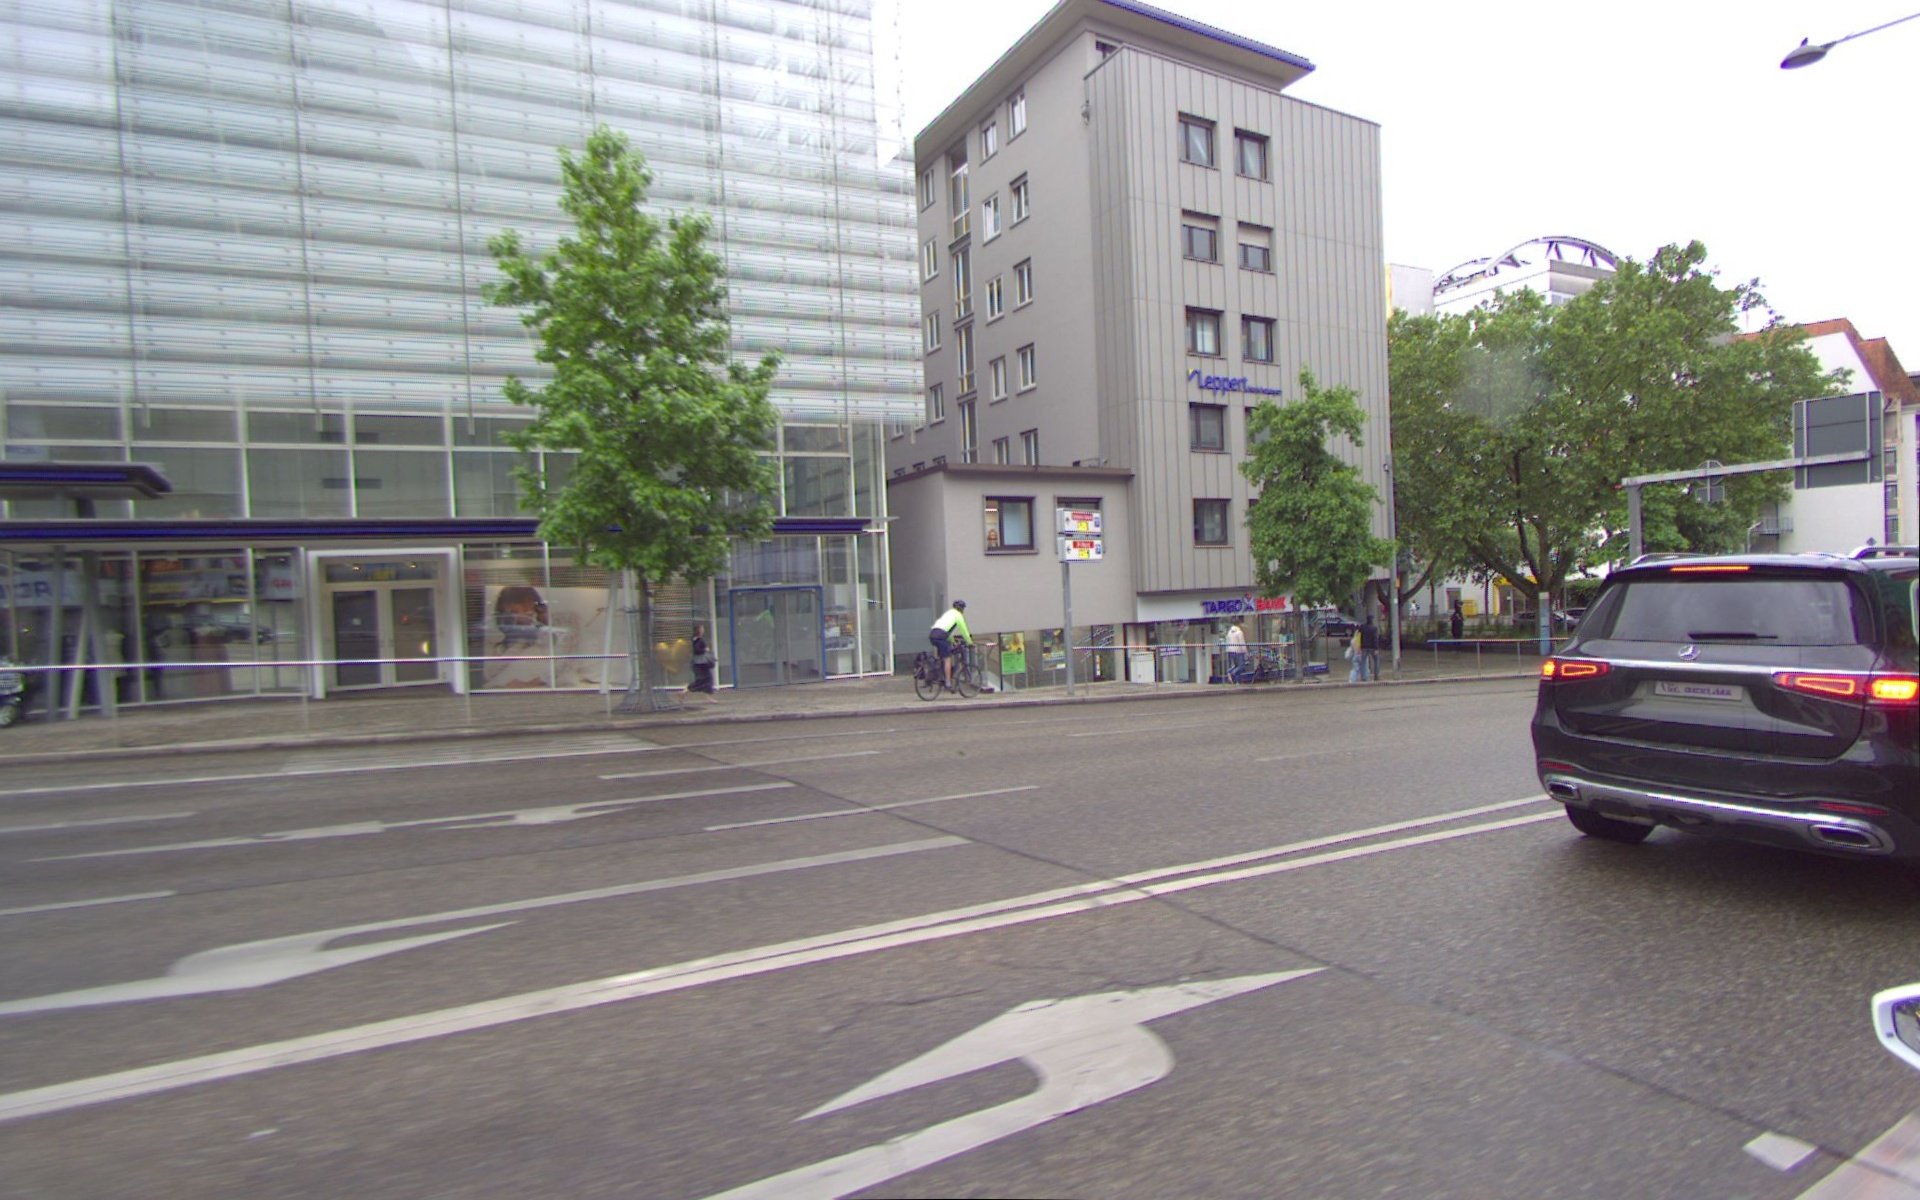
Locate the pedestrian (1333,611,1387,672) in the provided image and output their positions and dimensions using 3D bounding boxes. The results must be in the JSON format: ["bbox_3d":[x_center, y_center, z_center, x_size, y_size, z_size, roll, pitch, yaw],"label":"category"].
[{"bbox_3d":[11.814,1.209,29.682,1.075,1.745,0.970,0,-1,-26],"label":"pedestrian"}]

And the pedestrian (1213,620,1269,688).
[{"bbox_3d":[7.497,1.426,26.847,1.028,1.745,0.986,0,-2,-35],"label":"pedestrian"}]

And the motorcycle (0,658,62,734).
[{"bbox_3d":[-17.564,1.772,18.762,0.759,1.312,1.542,0,-1,-25],"label":"motorcycle"}]

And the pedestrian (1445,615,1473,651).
[{"bbox_3d":[24.454,1.603,49.229,0.937,1.745,0.756,-1,-1,-20],"label":"pedestrian"}]

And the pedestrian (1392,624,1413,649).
[{"bbox_3d":[23.325,1.947,52.939,0.935,1.289,0.758,-2,-2,31],"label":"pedestrian"}]

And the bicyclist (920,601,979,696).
[{"bbox_3d":[-0.216,0.962,20.222,0.983,1.854,0.663,1,-3,-42],"label":"bicyclist"}]

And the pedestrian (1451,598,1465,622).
[{"bbox_3d":[37.641,0.788,75.886,0.826,1.802,0.610,0,-2,-41],"label":"pedestrian"}]

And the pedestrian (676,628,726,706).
[{"bbox_3d":[-5.058,1.287,19.603,0.833,1.475,0.650,0,-1,-26],"label":"pedestrian"}]

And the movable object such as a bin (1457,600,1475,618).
[{"bbox_3d":[40.105,0.718,79.589,0.593,1.465,1.107,0,-2,-28],"label":"movable object such as a bin"}]

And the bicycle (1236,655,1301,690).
[{"bbox_3d":[10.748,2.502,34.943,2.642,1.101,0.608,1,-1,-33],"label":"bicycle"}]

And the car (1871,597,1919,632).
[{"bbox_3d":[46.299,0.700,47.591,4.632,1.665,1.776,1,0,43],"label":"car"}]

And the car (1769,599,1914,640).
[{"bbox_3d":[41.496,0.893,47.382,1.987,1.782,5.021,0,0,-44],"label":"car"}]

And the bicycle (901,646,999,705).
[{"bbox_3d":[-0.176,1.499,20.234,2.055,1.114,0.672,2,-3,-42],"label":"bicycle"}]

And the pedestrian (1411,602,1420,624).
[{"bbox_3d":[35.673,1.046,78.644,0.496,1.732,0.618,-1,-1,15],"label":"pedestrian"}]

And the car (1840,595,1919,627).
[{"bbox_3d":[48.906,0.587,52.758,1.763,1.638,3.957,1,-1,-44],"label":"car"}]

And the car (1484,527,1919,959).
[{"bbox_3d":[5.642,0.595,6.293,4.739,1.841,2.076,0,1,-32],"label":"car"}]

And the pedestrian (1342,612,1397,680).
[{"bbox_3d":[10.944,1.214,26.830,1.302,1.735,0.809,0,-2,-40],"label":"pedestrian"}]
